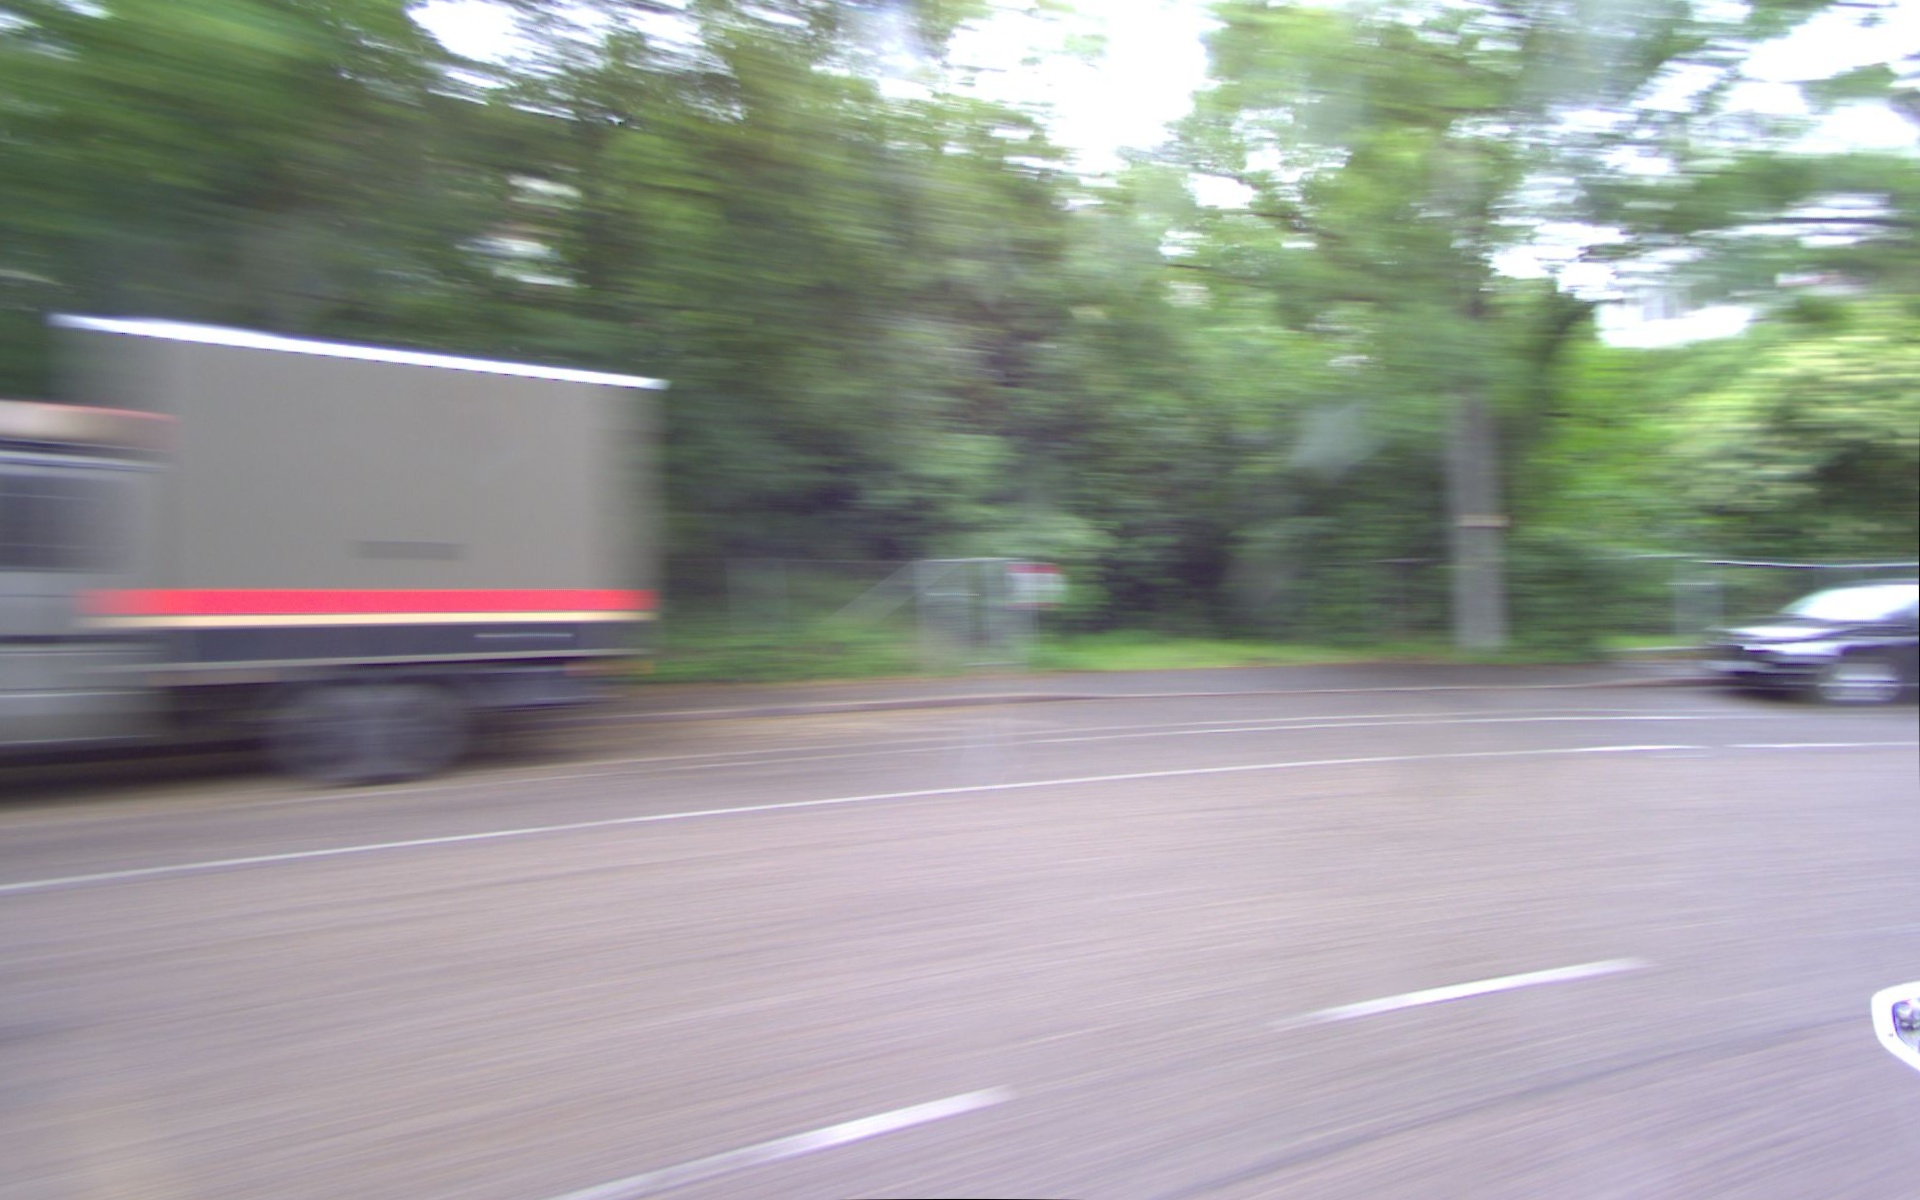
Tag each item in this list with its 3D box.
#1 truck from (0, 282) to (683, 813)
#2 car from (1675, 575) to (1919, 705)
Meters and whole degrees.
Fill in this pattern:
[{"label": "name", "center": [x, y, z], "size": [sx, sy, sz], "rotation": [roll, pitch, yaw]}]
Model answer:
[{"label": "truck", "center": [-5.550, -0.309, 7.239], "size": [6.542, 3.144, 2.021], "rotation": [1, 1, -33]}, {"label": "car", "center": [11.848, 0.454, 12.750], "size": [4.227, 1.485, 1.784], "rotation": [0, 3, 1]}]
